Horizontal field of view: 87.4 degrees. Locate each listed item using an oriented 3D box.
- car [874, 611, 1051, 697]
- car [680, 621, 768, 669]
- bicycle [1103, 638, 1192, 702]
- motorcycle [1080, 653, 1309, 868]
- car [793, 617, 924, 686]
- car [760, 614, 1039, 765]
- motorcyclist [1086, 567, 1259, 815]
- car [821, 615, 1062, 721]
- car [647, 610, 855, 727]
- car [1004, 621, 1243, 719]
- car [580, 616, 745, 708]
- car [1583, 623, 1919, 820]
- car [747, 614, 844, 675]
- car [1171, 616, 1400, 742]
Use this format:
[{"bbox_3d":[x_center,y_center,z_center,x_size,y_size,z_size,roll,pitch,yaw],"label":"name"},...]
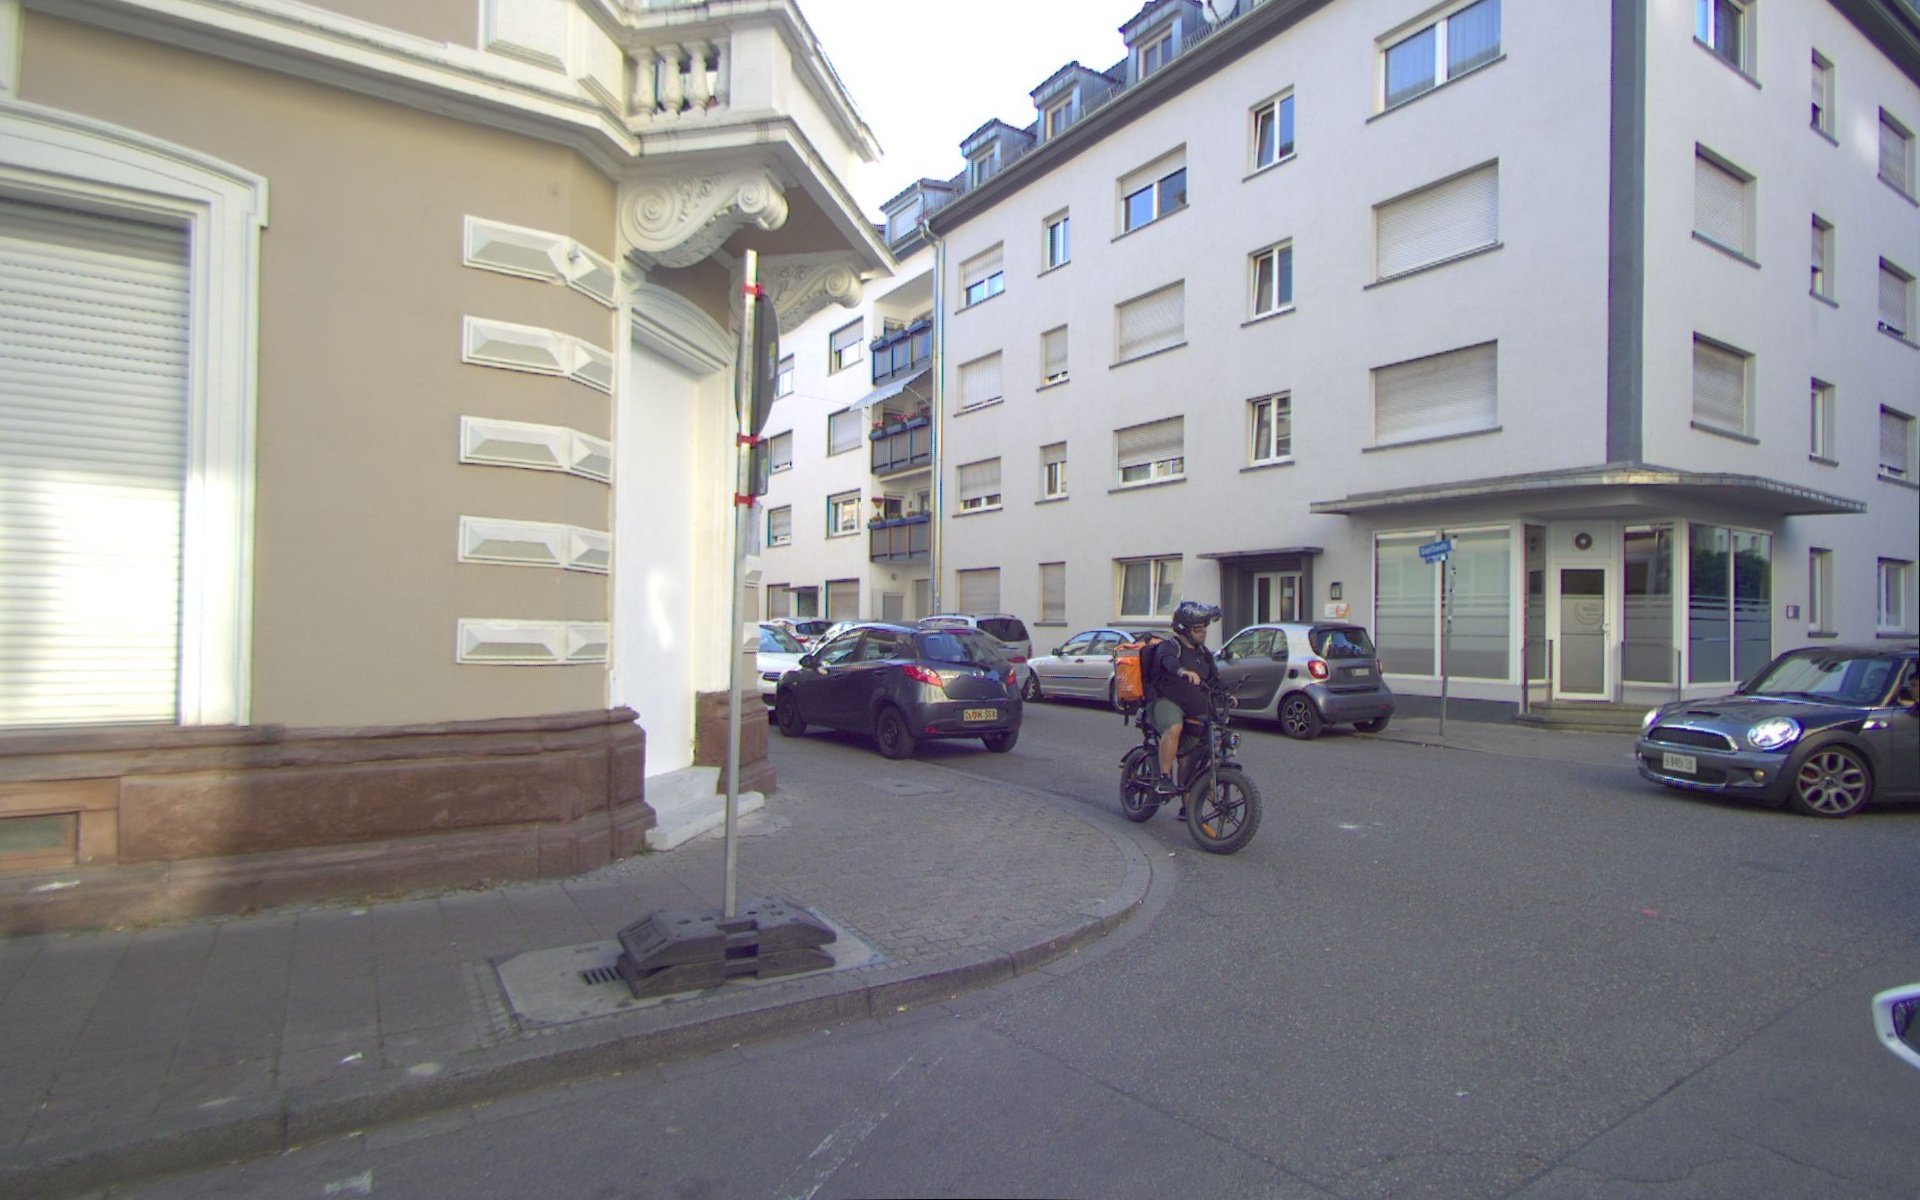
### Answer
[{"bbox_3d":[-0.050,1.100,22.046,1.979,1.675,4.055,1,-1,-34],"label":"car"},{"bbox_3d":[-8.131,1.499,34.407,1.574,1.507,3.944,1,-1,-35],"label":"car"},{"bbox_3d":[3.837,1.411,20.728,0.484,1.152,2.038,2,0,-34],"label":"bicycle"},{"bbox_3d":[1.669,1.094,7.462,0.796,1.266,1.688,0,1,-24],"label":"motorcycle"},{"bbox_3d":[-2.696,1.265,25.922,1.611,1.581,4.053,1,-1,-35],"label":"car"},{"bbox_3d":[-0.851,0.954,12.159,1.672,1.499,3.551,2,-1,-37],"label":"car"},{"bbox_3d":[1.594,0.660,7.641,0.862,1.723,0.994,2,-2,-25],"label":"motorcyclist"},{"bbox_3d":[-0.481,1.040,17.131,1.979,1.506,4.621,1,-1,-33],"label":"car"},{"bbox_3d":[-3.458,0.986,16.051,1.817,1.581,4.053,1,-1,-35],"label":"car"},{"bbox_3d":[2.800,1.159,18.090,1.947,1.472,4.226,1,-1,-32],"label":"car"},{"bbox_3d":[-5.997,1.135,19.928,1.989,1.581,4.054,1,-1,-34],"label":"car"},{"bbox_3d":[8.152,1.008,9.079,3.926,1.506,1.997,1,-1,-8],"label":"car"},{"bbox_3d":[-4.939,1.273,29.816,1.639,1.666,3.577,1,-1,-31],"label":"car"},{"bbox_3d":[4.603,1.045,14.470,1.630,1.586,2.740,1,-1,-32],"label":"car"}]
